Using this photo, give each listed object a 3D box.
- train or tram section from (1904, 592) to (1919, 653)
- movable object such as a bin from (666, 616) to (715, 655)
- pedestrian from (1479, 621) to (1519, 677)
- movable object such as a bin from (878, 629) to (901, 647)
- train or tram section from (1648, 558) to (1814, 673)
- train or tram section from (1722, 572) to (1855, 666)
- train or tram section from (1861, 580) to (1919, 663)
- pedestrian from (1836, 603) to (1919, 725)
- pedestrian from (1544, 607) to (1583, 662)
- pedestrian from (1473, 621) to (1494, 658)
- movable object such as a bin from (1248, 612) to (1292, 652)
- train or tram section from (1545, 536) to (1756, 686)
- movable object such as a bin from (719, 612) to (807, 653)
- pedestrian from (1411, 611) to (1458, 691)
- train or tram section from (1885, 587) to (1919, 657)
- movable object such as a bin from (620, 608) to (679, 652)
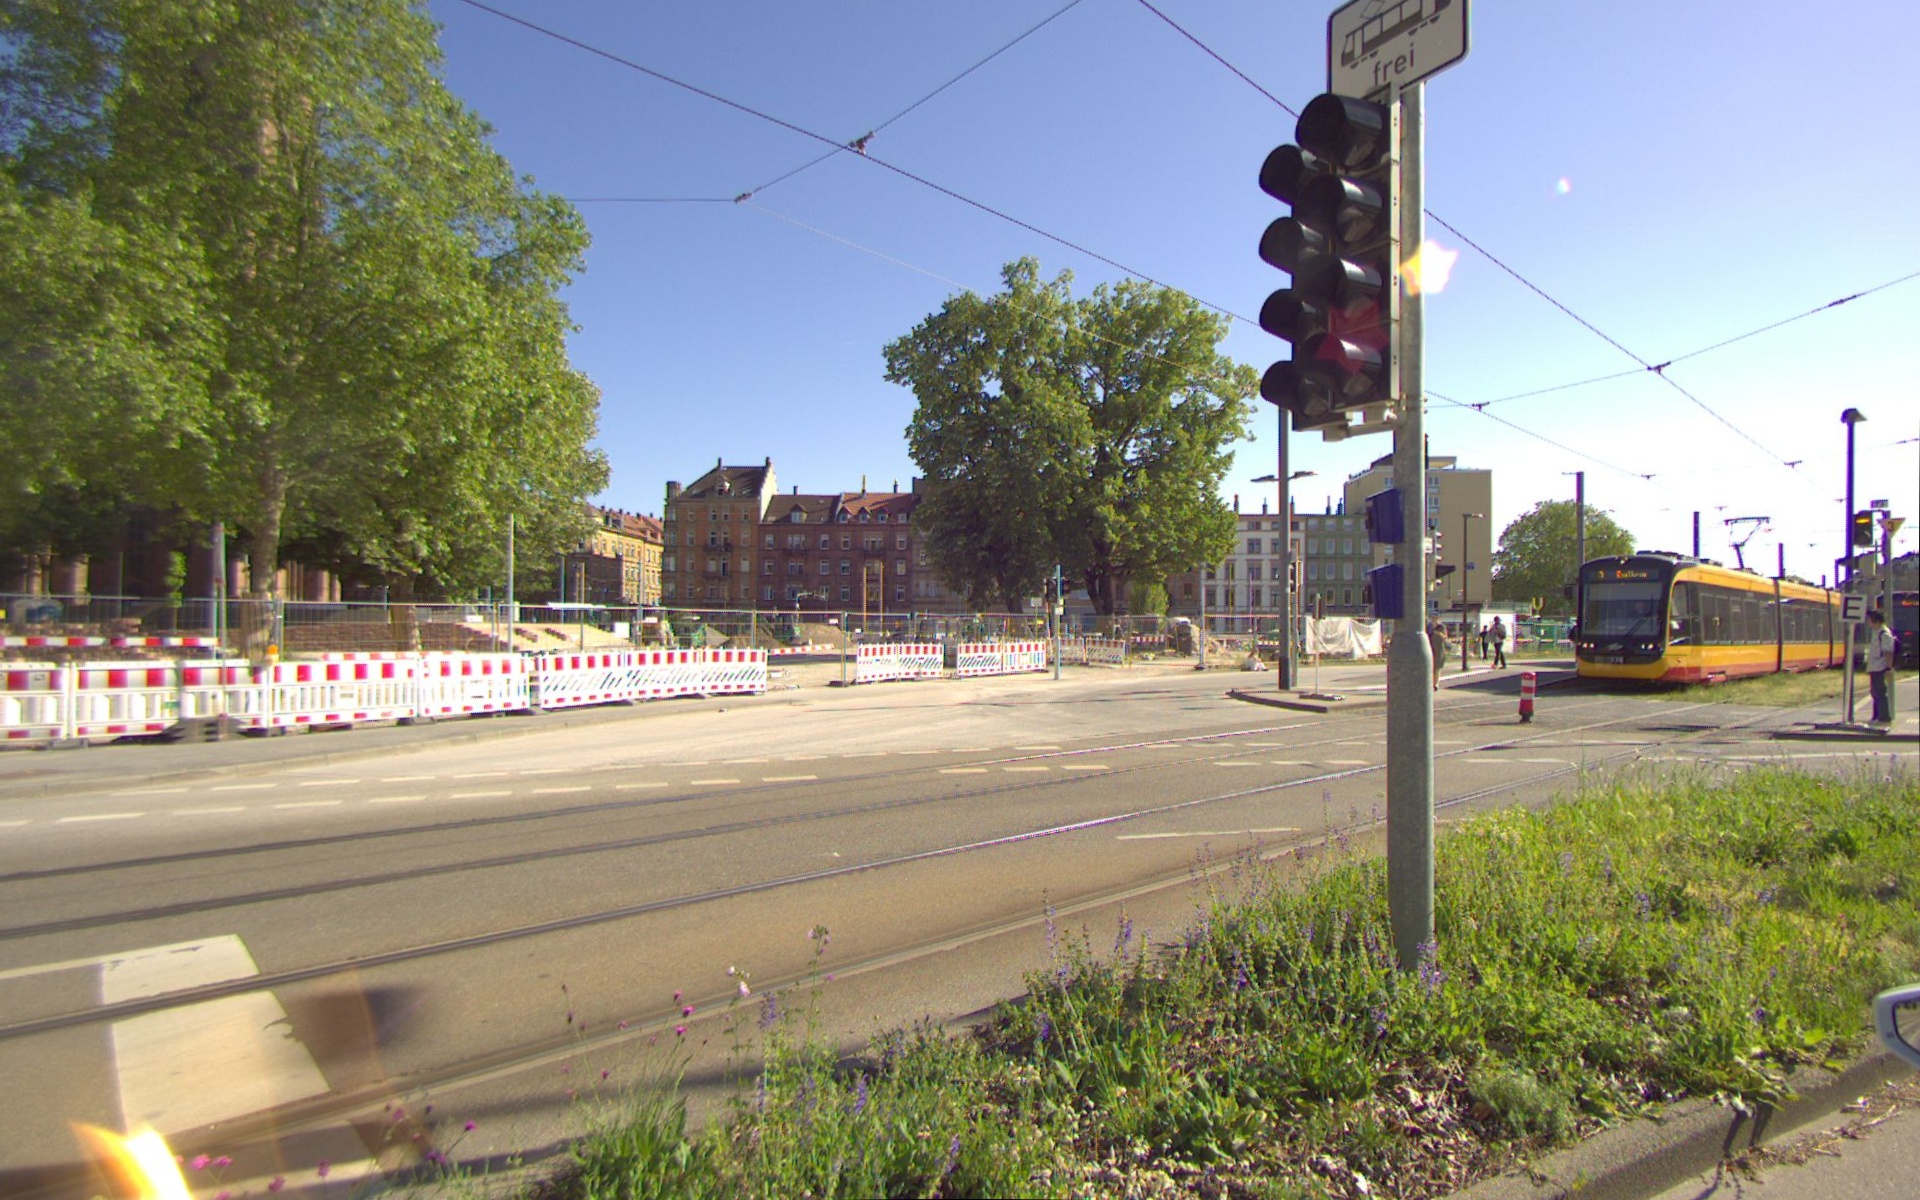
[{"bbox_3d":[59.748,1.416,60.997,10.467,3.554,2.844,2,-1,-43],"label":"train or tram section"},{"bbox_3d":[-17.555,2.298,65.629,1.856,2.377,4.231,2,-1,2],"label":"movable object such as a bin"},{"bbox_3d":[17.557,1.574,32.713,0.965,1.791,0.855,1,-2,-39],"label":"pedestrian"},{"bbox_3d":[-6.831,3.690,97.705,1.715,1.702,3.803,0,-1,3],"label":"movable object such as a bin"},{"bbox_3d":[27.478,0.604,35.527,10.532,3.554,2.791,2,-1,-42],"label":"train or tram section"},{"bbox_3d":[35.452,0.847,42.768,11.127,3.554,2.791,2,-1,-42],"label":"train or tram section"},{"bbox_3d":[44.452,1.046,46.741,10.468,3.554,2.844,2,-1,-43],"label":"train or tram section"},{"bbox_3d":[14.627,0.992,15.938,1.003,1.856,0.757,1,-1,38],"label":"pedestrian"},{"bbox_3d":[23.125,1.328,38.480,0.989,2.040,0.954,3,-1,-35],"label":"pedestrian"},{"bbox_3d":[25.884,1.937,49.657,0.794,1.791,0.661,2,-2,-43],"label":"pedestrian"},{"bbox_3d":[23.390,2.383,75.874,1.798,2.833,3.998,2,-1,-4],"label":"movable object such as a bin"},{"bbox_3d":[19.781,0.403,28.387,10.406,3.554,2.791,2,-2,-43],"label":"train or tram section"},{"bbox_3d":[-14.292,2.354,73.211,5.966,2.795,1.894,2,-1,-1],"label":"movable object such as a bin"},{"bbox_3d":[11.506,1.206,24.355,0.896,1.875,0.754,-2,1,-44],"label":"pedestrian"},{"bbox_3d":[52.060,1.235,53.863,10.468,3.554,2.844,2,-1,-43],"label":"train or tram section"},{"bbox_3d":[-23.746,2.270,77.134,3.059,3.215,5.245,2,-1,-4],"label":"movable object such as a bin"}]
